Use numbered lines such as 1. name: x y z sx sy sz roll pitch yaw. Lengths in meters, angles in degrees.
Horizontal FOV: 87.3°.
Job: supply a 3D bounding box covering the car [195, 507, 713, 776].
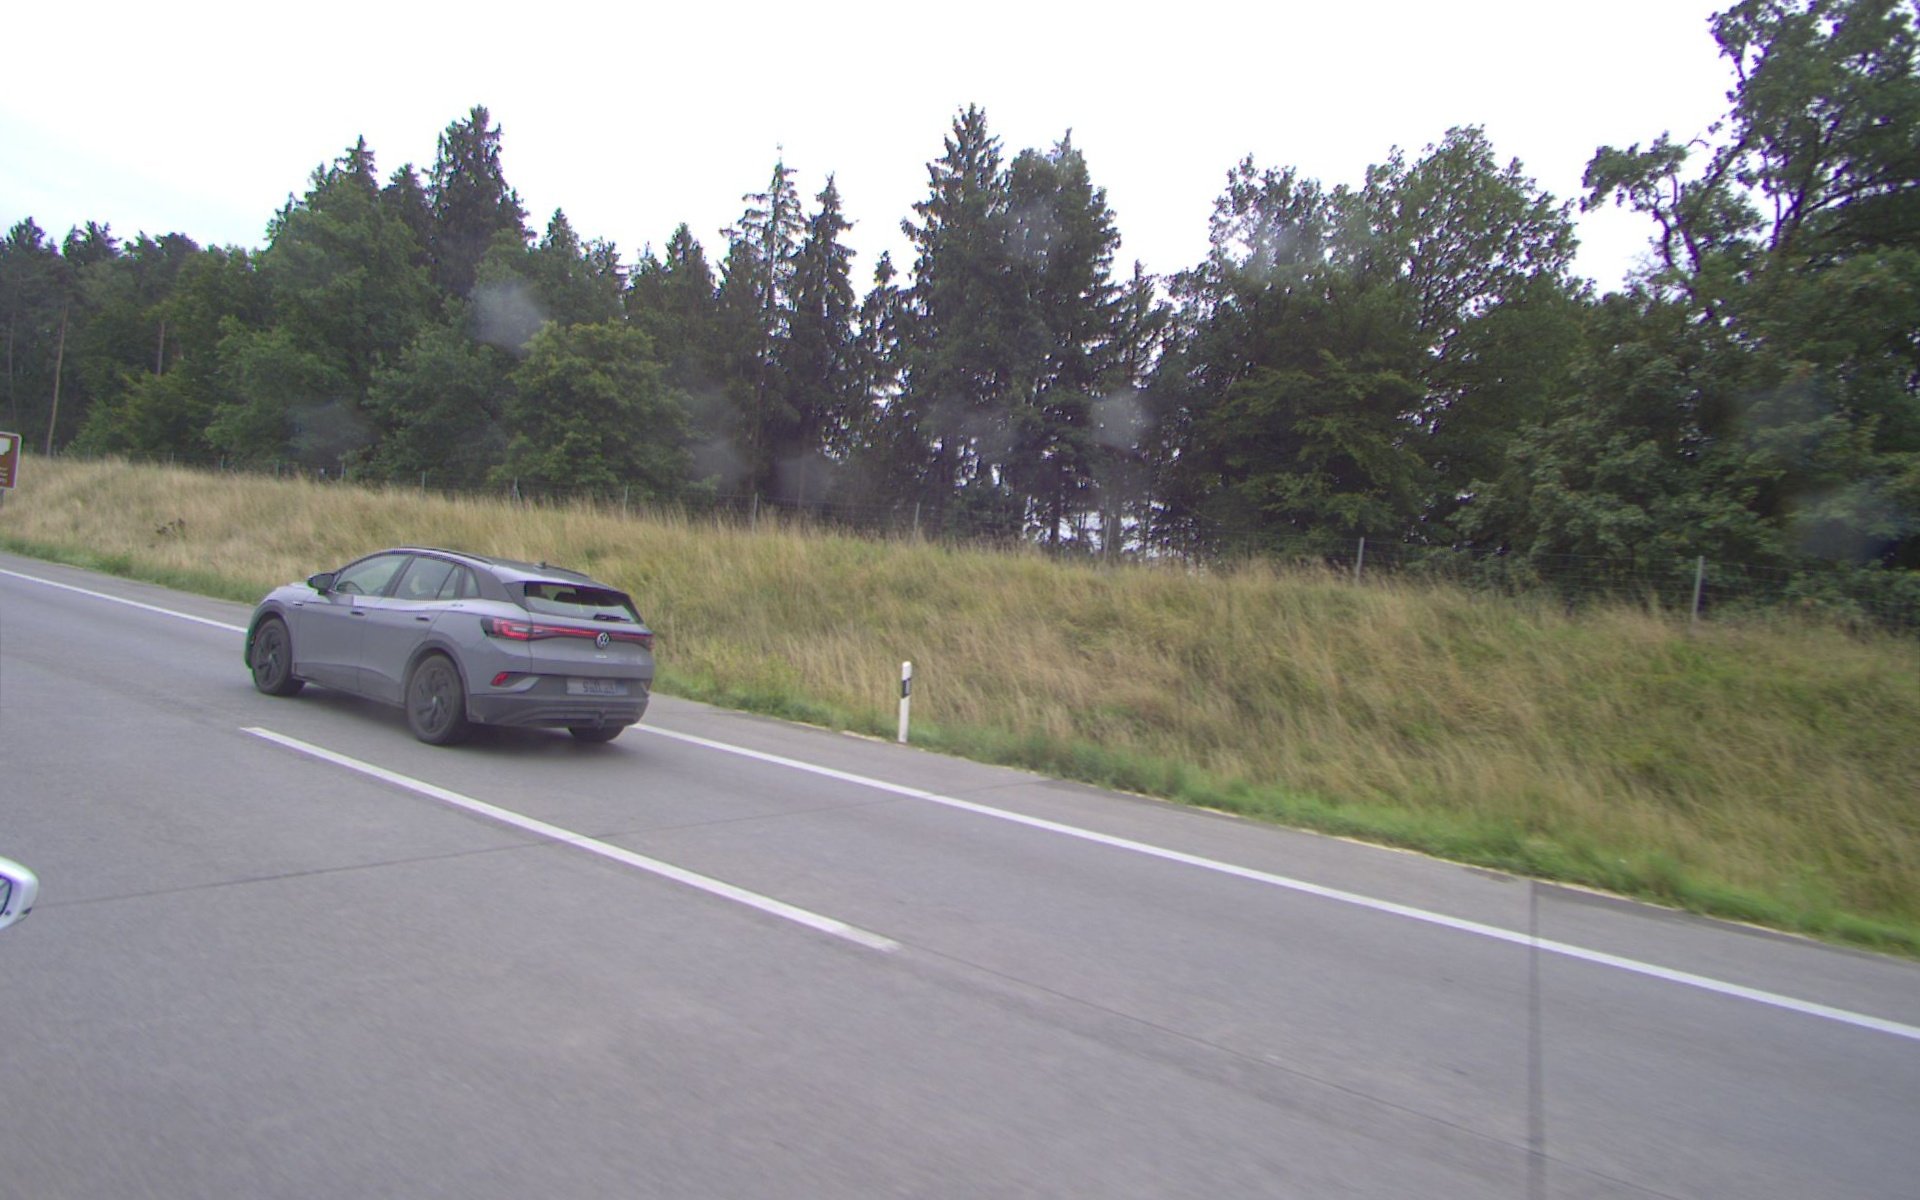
1. car: -5.085 0.290 9.847 5.177 1.709 1.902 8 -1 31
